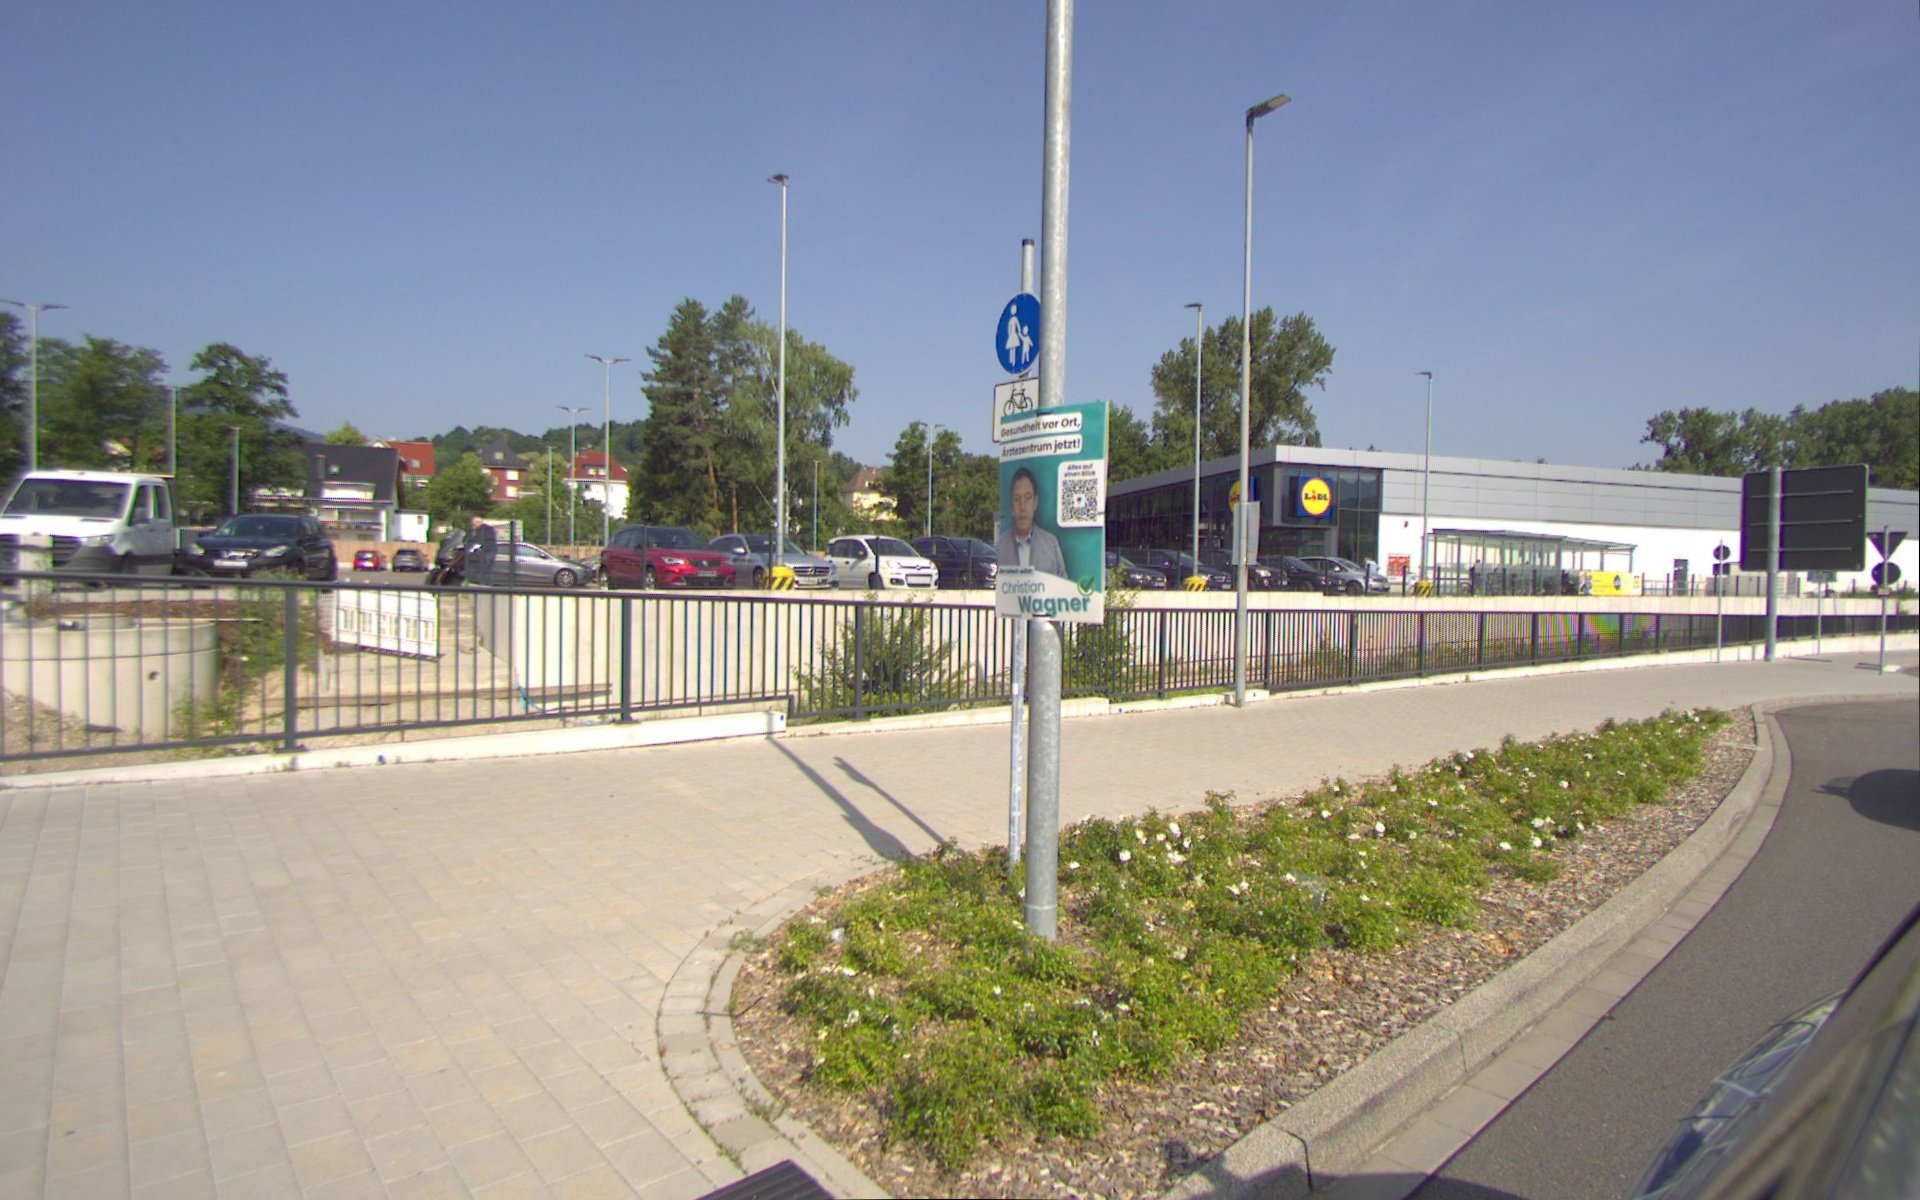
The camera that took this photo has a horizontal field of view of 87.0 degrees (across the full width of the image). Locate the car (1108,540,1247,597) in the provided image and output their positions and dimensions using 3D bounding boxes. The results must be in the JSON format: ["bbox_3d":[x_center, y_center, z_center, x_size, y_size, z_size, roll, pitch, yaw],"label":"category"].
[{"bbox_3d":[6.629,-0.910,31.191,1.674,1.594,3.993,1,-1,-41],"label":"car"}]

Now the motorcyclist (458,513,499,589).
[{"bbox_3d":[-10.179,-1.024,21.393,0.510,1.562,0.576,0,-1,28],"label":"motorcyclist"}]

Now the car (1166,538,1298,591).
[{"bbox_3d":[8.901,-1.119,33.347,1.674,1.594,3.993,1,-1,-41],"label":"car"}]

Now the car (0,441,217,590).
[{"bbox_3d":[-16.921,-1.456,20.044,2.017,2.414,6.103,0,-1,-21],"label":"car"}]

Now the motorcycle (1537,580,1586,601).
[{"bbox_3d":[26.425,-0.416,44.481,1.863,0.875,0.620,0,-1,32],"label":"motorcycle"}]

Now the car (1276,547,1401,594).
[{"bbox_3d":[14.205,-1.070,38.166,1.674,1.594,4.124,1,-1,-41],"label":"car"}]

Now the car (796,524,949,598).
[{"bbox_3d":[-2.184,-0.860,24.456,1.674,1.594,3.993,1,-1,-41],"label":"car"}]

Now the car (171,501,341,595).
[{"bbox_3d":[-14.107,-0.948,20.568,1.794,1.623,4.485,0,-1,-21],"label":"car"}]

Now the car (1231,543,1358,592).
[{"bbox_3d":[11.794,-1.093,35.851,1.674,1.594,3.993,1,-1,-41],"label":"car"}]

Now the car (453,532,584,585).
[{"bbox_3d":[-14.943,-1.359,34.265,3.918,1.638,2.002,0,-1,-28],"label":"car"}]

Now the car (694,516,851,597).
[{"bbox_3d":[-4.226,-0.880,22.396,1.747,1.594,4.018,1,-1,-39],"label":"car"}]

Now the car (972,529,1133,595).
[{"bbox_3d":[2.417,-0.948,27.413,1.674,1.594,4.408,1,-1,-41],"label":"car"}]

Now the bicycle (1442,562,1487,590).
[{"bbox_3d":[20.859,-0.969,41.832,1.839,1.108,0.628,0,-1,-24],"label":"bicycle"}]

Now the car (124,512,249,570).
[{"bbox_3d":[-38.389,-2.886,50.365,4.551,2.651,2.003,0,-1,-25],"label":"car"}]

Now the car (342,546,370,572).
[{"bbox_3d":[-42.352,-2.839,70.995,1.678,1.594,3.790,1,-1,-31],"label":"car"}]

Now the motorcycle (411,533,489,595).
[{"bbox_3d":[-10.475,-0.720,20.873,0.580,1.206,1.902,1,0,2],"label":"motorcycle"}]

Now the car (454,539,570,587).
[{"bbox_3d":[-16.027,-1.298,36.278,3.708,1.594,1.669,0,-1,-24],"label":"car"}]

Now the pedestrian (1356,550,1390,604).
[{"bbox_3d":[15.747,-0.853,38.586,0.845,2.039,0.834,1,-1,-26],"label":"pedestrian"}]

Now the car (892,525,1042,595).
[{"bbox_3d":[0.112,-0.963,26.063,1.674,1.594,3.993,1,-1,-41],"label":"car"}]

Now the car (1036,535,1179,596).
[{"bbox_3d":[4.198,-0.930,29.283,1.674,1.594,3.993,1,-1,-41],"label":"car"}]

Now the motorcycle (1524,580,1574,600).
[{"bbox_3d":[25.517,-0.423,43.882,1.863,0.875,0.620,0,-1,32],"label":"motorcycle"}]

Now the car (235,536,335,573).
[{"bbox_3d":[-32.220,-2.162,48.429,3.708,1.594,1.766,0,-1,-24],"label":"car"}]

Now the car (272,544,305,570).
[{"bbox_3d":[-46.198,-2.939,69.680,1.728,1.594,3.790,1,-1,-31],"label":"car"}]

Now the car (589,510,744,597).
[{"bbox_3d":[-6.275,-0.892,21.352,1.747,1.594,4.018,1,-1,-39],"label":"car"}]

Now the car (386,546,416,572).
[{"bbox_3d":[-39.231,-2.843,70.973,1.728,1.594,3.790,1,-1,-31],"label":"car"}]

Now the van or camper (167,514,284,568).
[{"bbox_3d":[-42.881,-3.420,59.272,5.176,2.884,2.298,0,-1,-25],"label":"van or camper"}]

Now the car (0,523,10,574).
[{"bbox_3d":[-29.881,-1.537,28.975,3.556,1.464,1.528,0,-1,-23],"label":"car"}]
